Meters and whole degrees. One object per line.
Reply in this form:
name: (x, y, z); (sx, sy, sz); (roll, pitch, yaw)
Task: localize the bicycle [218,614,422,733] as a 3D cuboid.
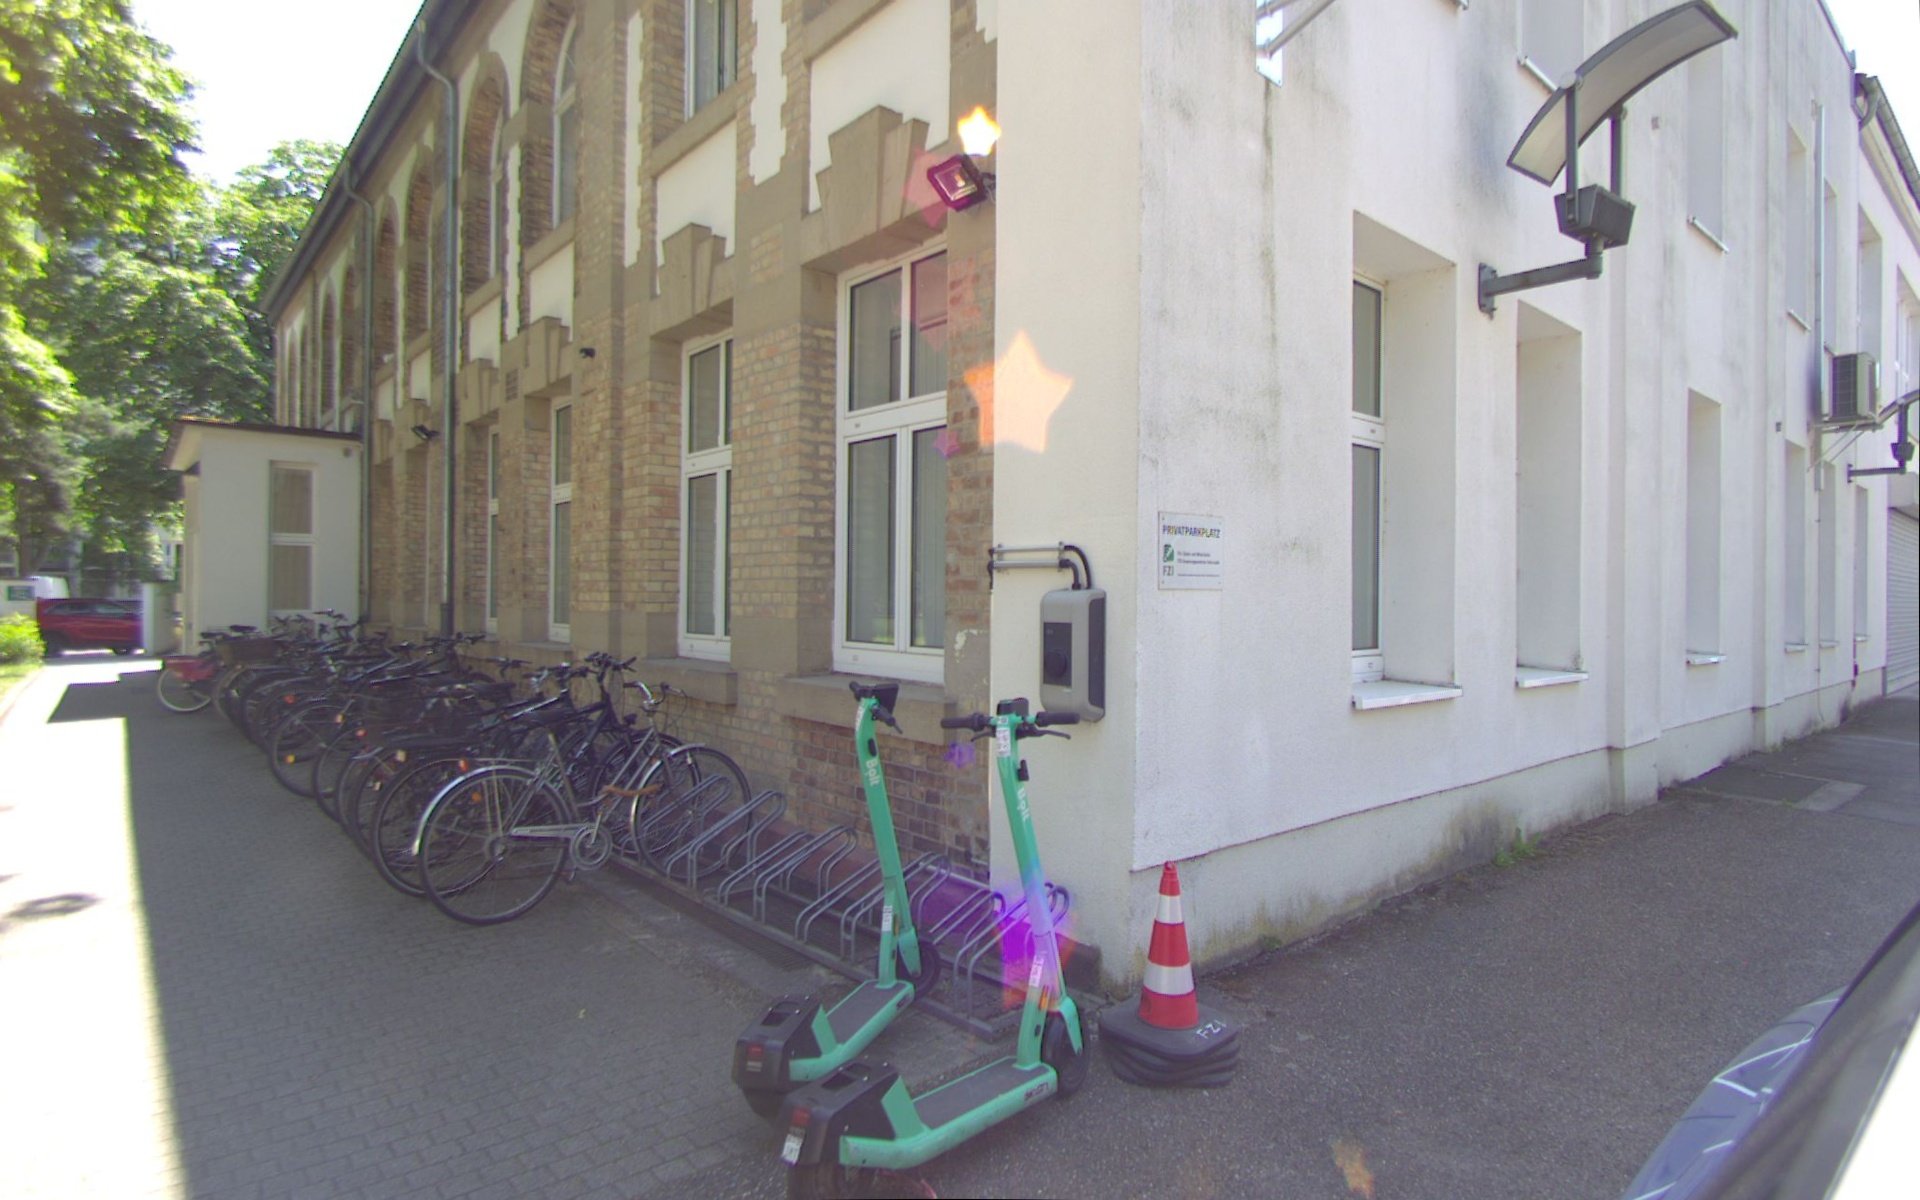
bicycle: (-6.903, 0.747, 10.971); (1.809, 1.157, 0.589); (0, 0, -40)

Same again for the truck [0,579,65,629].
truck: (-36.638, 0.168, 37.766); (4.549, 1.856, 1.658); (-1, 1, -26)

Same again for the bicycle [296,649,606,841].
bicycle: (-3.380, 0.906, 6.842); (1.802, 1.081, 0.504); (1, 0, -40)

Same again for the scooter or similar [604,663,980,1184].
scooter or similar: (-0.449, 0.841, 3.156); (0.461, 1.188, 1.242); (0, 0, 32)

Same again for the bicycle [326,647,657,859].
bicycle: (-2.852, 0.870, 6.300); (1.802, 1.081, 0.504); (0, 0, -40)

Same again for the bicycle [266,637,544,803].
bicycle: (-4.234, 0.861, 7.811); (1.802, 1.117, 0.522); (1, -1, -40)

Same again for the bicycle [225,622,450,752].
bicycle: (-6.022, 0.798, 9.859); (1.809, 1.114, 0.522); (0, 0, -40)

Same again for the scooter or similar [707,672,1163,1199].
scooter or similar: (0.014, 0.844, 2.725); (0.463, 1.188, 1.337); (0, 0, 40)

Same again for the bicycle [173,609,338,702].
bicycle: (-9.563, 0.717, 13.784); (1.809, 1.157, 0.589); (0, 0, -40)

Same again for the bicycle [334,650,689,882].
bicycle: (-2.519, 0.870, 5.839); (1.802, 1.081, 0.504); (0, 0, -40)

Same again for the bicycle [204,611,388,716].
bicycle: (-8.014, 0.730, 12.260); (1.809, 1.157, 0.589); (0, 0, -40)

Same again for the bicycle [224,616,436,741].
bicycle: (-6.488, 0.763, 10.487); (1.809, 1.157, 0.589); (0, 0, -40)

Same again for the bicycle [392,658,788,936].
bicycle: (-1.758, 0.874, 5.028); (1.802, 1.081, 0.454); (0, 0, -40)

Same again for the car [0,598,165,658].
car: (-24.245, 0.698, 27.471); (1.685, 1.482, 3.910); (0, 1, 21)

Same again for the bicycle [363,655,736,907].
bicycle: (-2.132, 0.876, 5.434); (1.802, 1.081, 0.454); (0, 0, -40)

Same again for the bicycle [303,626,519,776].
bicycle: (-4.657, 0.801, 8.744); (0.466, 1.117, 1.825); (0, 0, 17)

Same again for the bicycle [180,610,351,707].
bicycle: (-9.053, 0.730, 13.237); (1.809, 1.157, 0.589); (0, 0, -40)

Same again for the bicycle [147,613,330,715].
bicycle: (-8.853, 0.749, 12.493); (1.807, 1.157, 0.589); (0, 0, -35)

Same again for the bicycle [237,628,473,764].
bicycle: (-5.504, 0.828, 9.285); (1.803, 1.083, 0.522); (0, 0, -40)

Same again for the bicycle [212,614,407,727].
bicycle: (-7.332, 0.754, 11.457); (1.809, 1.157, 0.589); (0, 0, -40)
